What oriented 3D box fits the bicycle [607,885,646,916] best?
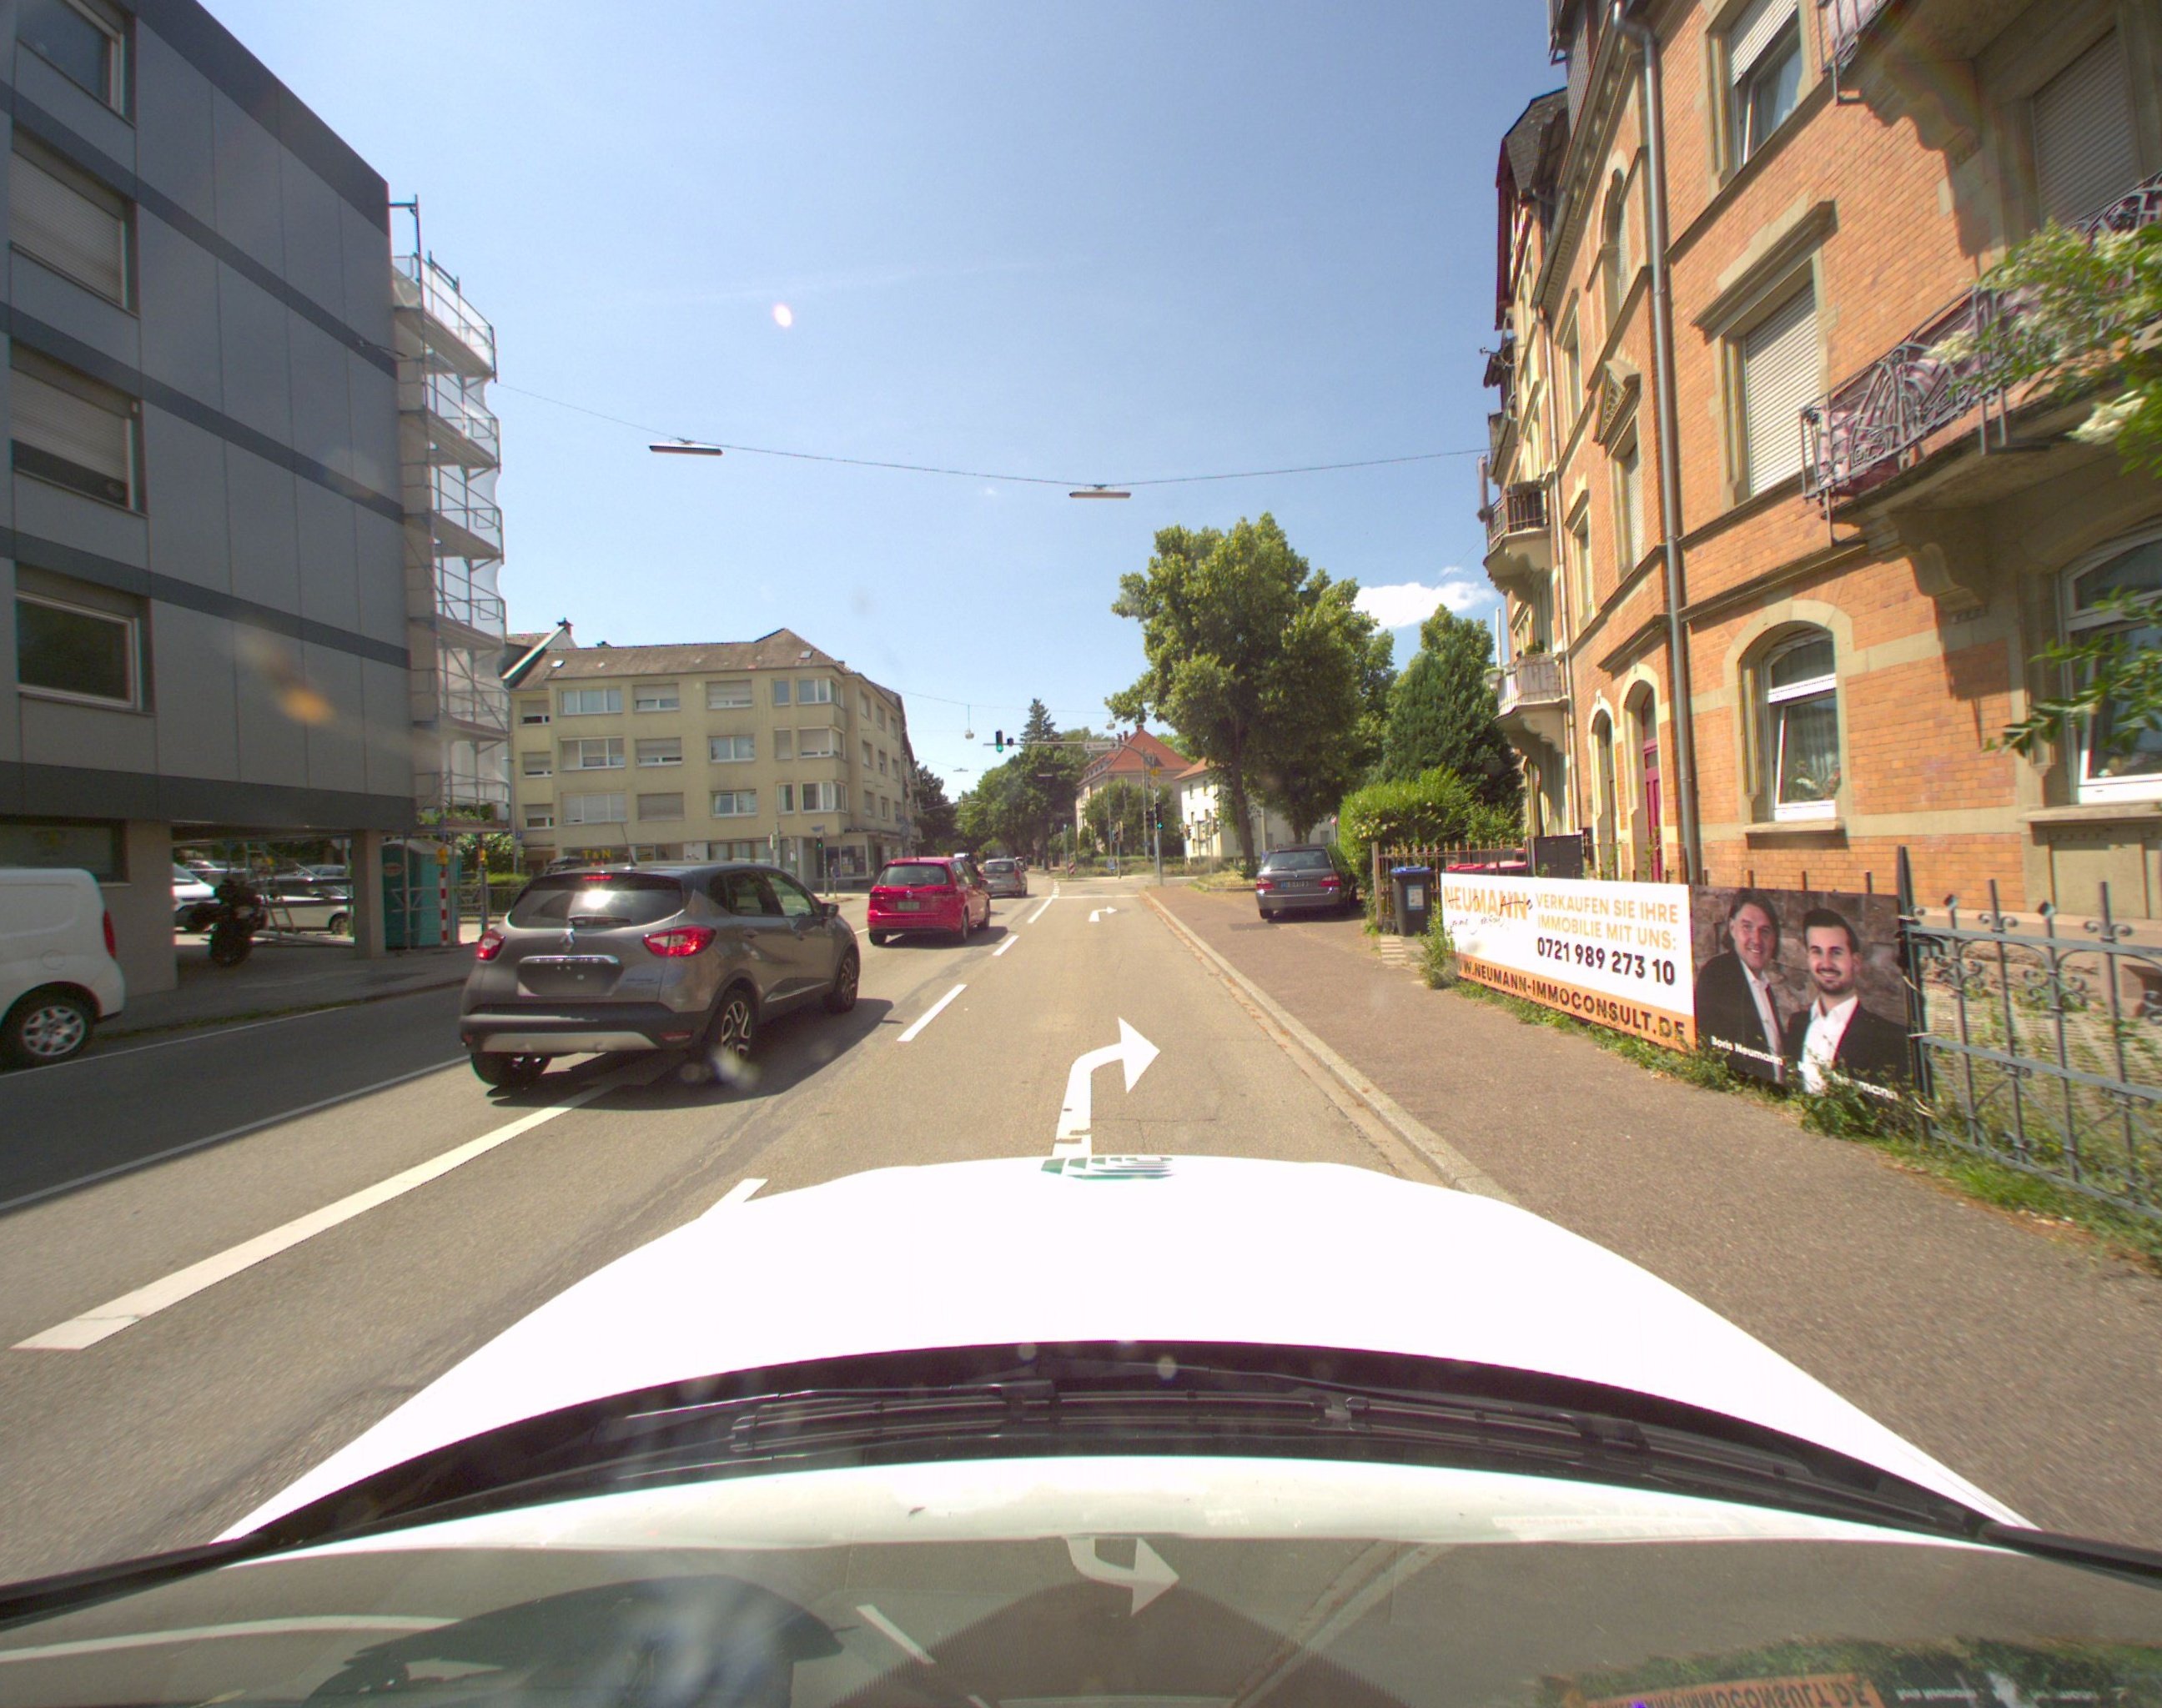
[{"bbox_3d":[-15.415,1.562,27.648,0.396,0.967,1.717,-2,0,-3],"label":"bicycle"}]

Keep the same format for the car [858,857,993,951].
[{"bbox_3d":[-2.918,0.880,16.131,1.792,1.558,4.038,-2,0,1],"label":"car"}]

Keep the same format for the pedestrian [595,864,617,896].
[{"bbox_3d":[-24.966,1.374,42.809,0.683,1.632,0.649,-3,-1,1],"label":"pedestrian"}]

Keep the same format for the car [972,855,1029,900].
[{"bbox_3d":[-3.019,0.858,31.170,1.794,1.558,4.035,-2,0,-1],"label":"car"}]

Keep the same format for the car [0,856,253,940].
[{"bbox_3d":[-24.996,1.083,20.977,4.987,2.014,1.997,1,0,-5],"label":"car"}]

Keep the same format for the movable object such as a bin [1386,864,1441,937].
[{"bbox_3d":[5.191,0.716,12.756,0.645,1.071,0.639,-3,0,11],"label":"movable object such as a bin"}]

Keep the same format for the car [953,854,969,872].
[{"bbox_3d":[-18.621,1.355,126.464,2.215,2.501,7.531,-6,0,-8],"label":"car"}]

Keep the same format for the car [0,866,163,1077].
[{"bbox_3d":[-10.347,1.073,5.879,1.908,1.825,4.787,-4,-1,0],"label":"car"}]

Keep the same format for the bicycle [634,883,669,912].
[{"bbox_3d":[-15.539,1.562,29.520,0.396,0.967,1.744,-2,0,-3],"label":"bicycle"}]

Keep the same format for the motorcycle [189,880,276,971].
[{"bbox_3d":[-15.209,1.240,14.584,2.016,1.471,0.887,-2,-1,39],"label":"motorcycle"}]

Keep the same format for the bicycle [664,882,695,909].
[{"bbox_3d":[-15.588,1.602,31.635,0.396,0.967,1.781,-2,0,-3],"label":"bicycle"}]

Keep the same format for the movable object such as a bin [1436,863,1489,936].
[{"bbox_3d":[5.882,0.691,12.587,0.548,1.071,0.707,-3,0,11],"label":"movable object such as a bin"}]

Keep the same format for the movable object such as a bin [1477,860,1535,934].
[{"bbox_3d":[6.460,0.644,12.410,0.572,1.071,0.707,-3,0,11],"label":"movable object such as a bin"}]

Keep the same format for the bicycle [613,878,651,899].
[{"bbox_3d":[-24.035,1.840,43.631,1.732,1.026,0.498,-2,0,-1],"label":"bicycle"}]

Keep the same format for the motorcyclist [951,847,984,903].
[{"bbox_3d":[-3.050,0.559,21.980,0.708,1.445,1.019,-2,0,0],"label":"motorcyclist"}]

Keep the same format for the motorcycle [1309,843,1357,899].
[{"bbox_3d":[6.685,0.427,21.489,0.922,1.302,2.293,-4,1,23],"label":"motorcycle"}]

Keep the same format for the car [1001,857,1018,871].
[{"bbox_3d":[-10.724,1.484,122.305,1.995,1.906,3.984,-2,0,-11],"label":"car"}]

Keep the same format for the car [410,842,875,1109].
[{"bbox_3d":[-3.283,0.773,7.144,1.747,1.632,4.002,-2,0,2],"label":"car"}]

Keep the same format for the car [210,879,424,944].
[{"bbox_3d":[-19.490,1.429,20.914,3.719,1.447,1.756,-1,0,-3],"label":"car"}]

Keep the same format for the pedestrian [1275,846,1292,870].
[{"bbox_3d":[14.438,0.288,58.091,0.840,1.705,0.756,-2,-1,-26],"label":"pedestrian"}]

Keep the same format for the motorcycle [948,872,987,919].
[{"bbox_3d":[-3.031,1.090,21.999,0.708,1.134,2.197,-2,0,0],"label":"motorcycle"}]

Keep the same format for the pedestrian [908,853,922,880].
[{"bbox_3d":[-12.217,0.953,60.000,0.935,1.931,0.973,-2,-1,-11],"label":"pedestrian"}]

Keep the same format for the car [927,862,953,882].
[{"bbox_3d":[-11.936,1.520,68.735,1.995,1.519,3.983,-2,-1,-12],"label":"car"}]

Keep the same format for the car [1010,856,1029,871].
[{"bbox_3d":[-8.289,1.271,109.098,1.995,1.807,3.984,-2,0,-11],"label":"car"}]

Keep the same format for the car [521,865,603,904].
[{"bbox_3d":[-24.820,1.474,38.905,4.273,1.664,2.013,-3,-1,39],"label":"car"}]

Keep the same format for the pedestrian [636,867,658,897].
[{"bbox_3d":[-22.388,1.429,42.018,0.683,1.475,0.649,-3,-1,1],"label":"pedestrian"}]

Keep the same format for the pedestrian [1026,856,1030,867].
[{"bbox_3d":[-8.025,1.129,122.350,0.508,1.656,0.465,-2,0,-6],"label":"pedestrian"}]

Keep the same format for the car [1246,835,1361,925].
[{"bbox_3d":[5.046,0.460,17.926,1.818,1.548,5.184,-4,1,21],"label":"car"}]

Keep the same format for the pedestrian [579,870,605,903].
[{"bbox_3d":[-25.192,1.671,41.950,0.798,1.632,0.823,-3,-1,1],"label":"pedestrian"}]
